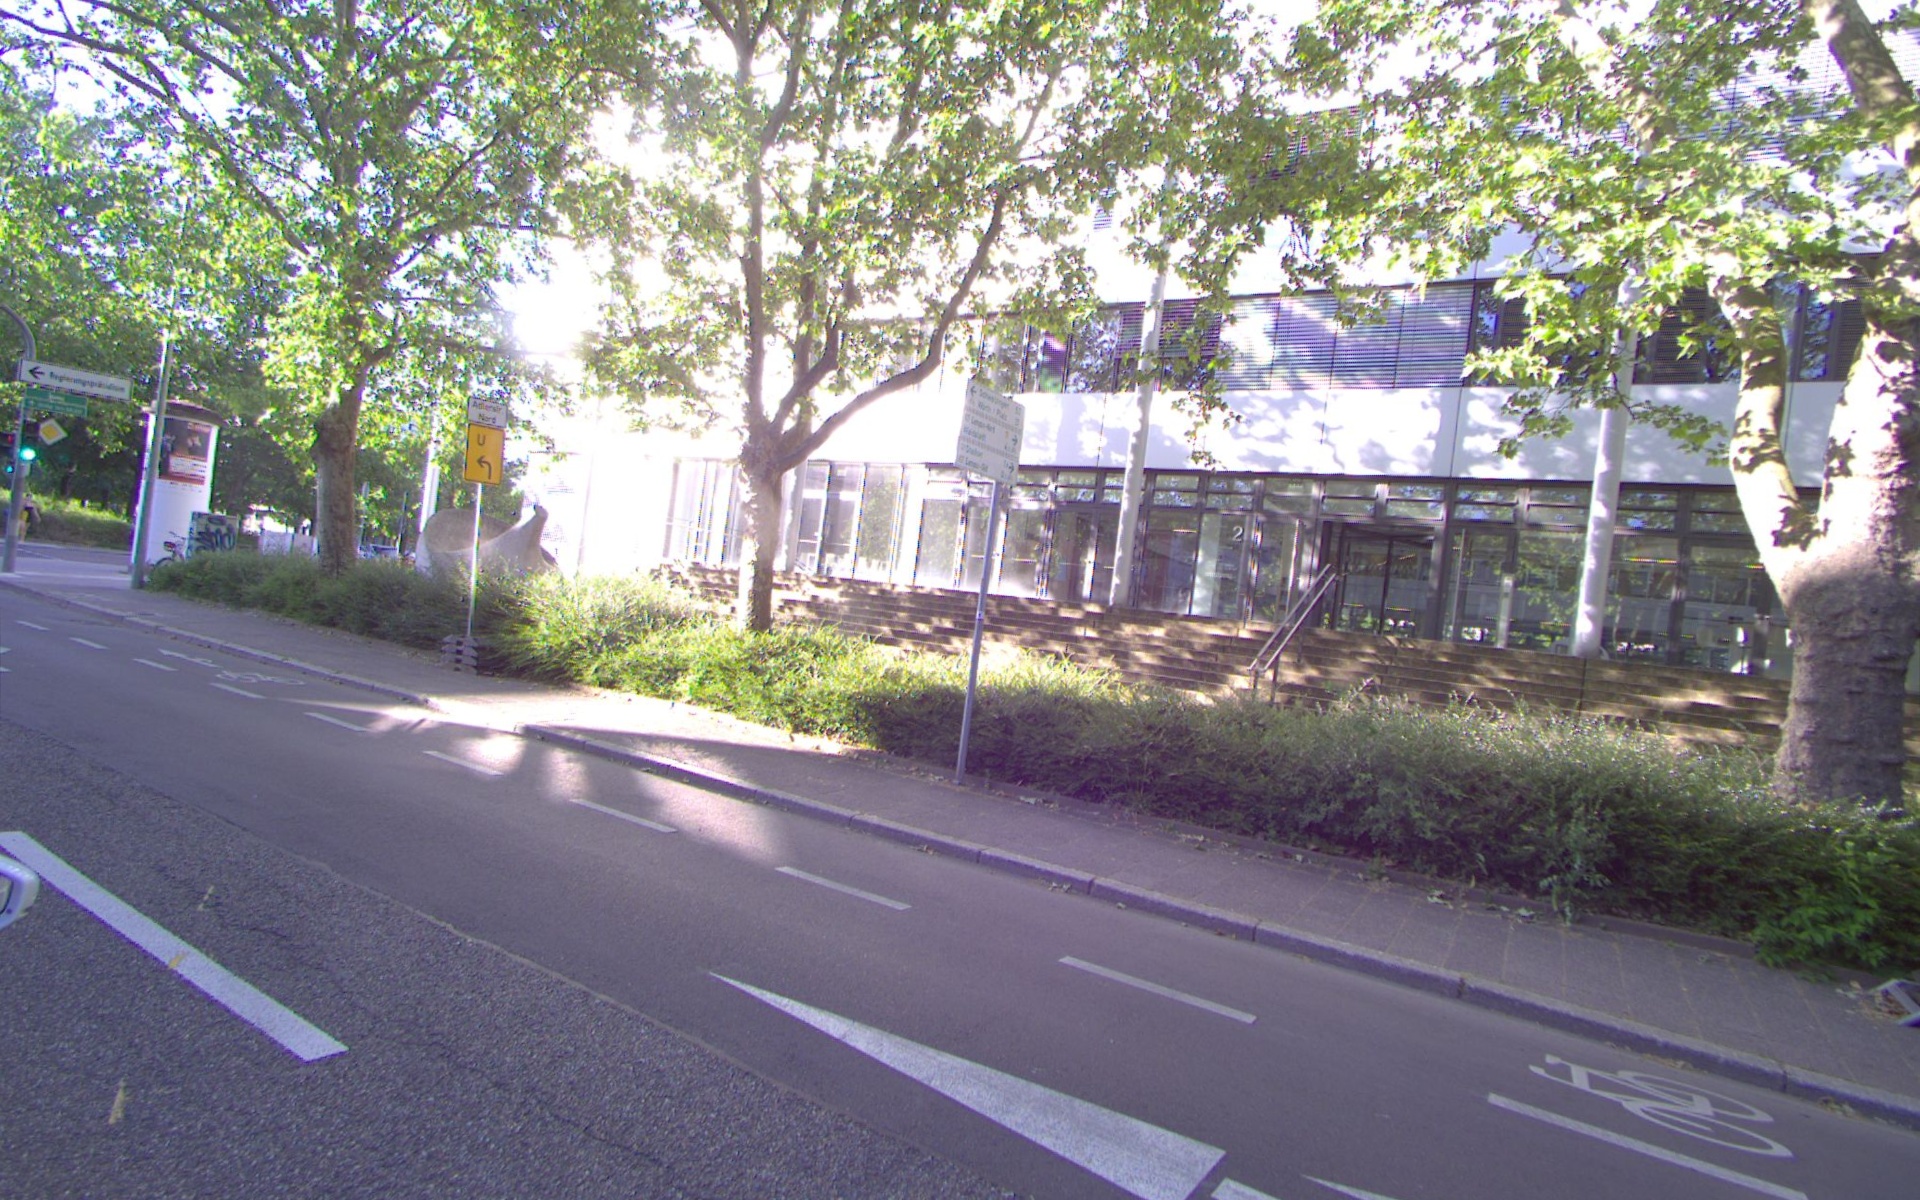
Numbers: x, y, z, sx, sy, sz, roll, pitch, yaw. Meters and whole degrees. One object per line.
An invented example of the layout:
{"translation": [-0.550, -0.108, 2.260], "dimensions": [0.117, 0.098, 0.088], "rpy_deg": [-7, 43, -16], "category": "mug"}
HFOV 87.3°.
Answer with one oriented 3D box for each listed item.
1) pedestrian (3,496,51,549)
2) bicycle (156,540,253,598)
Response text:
{"translation": [-30.170, -2.496, 32.531], "dimensions": [0.893, 1.563, 0.638], "rpy_deg": [7, -1, 17], "category": "pedestrian"}
{"translation": [-15.912, -0.634, 21.248], "dimensions": [0.631, 1.040, 1.887], "rpy_deg": [7, -2, -5], "category": "bicycle"}
